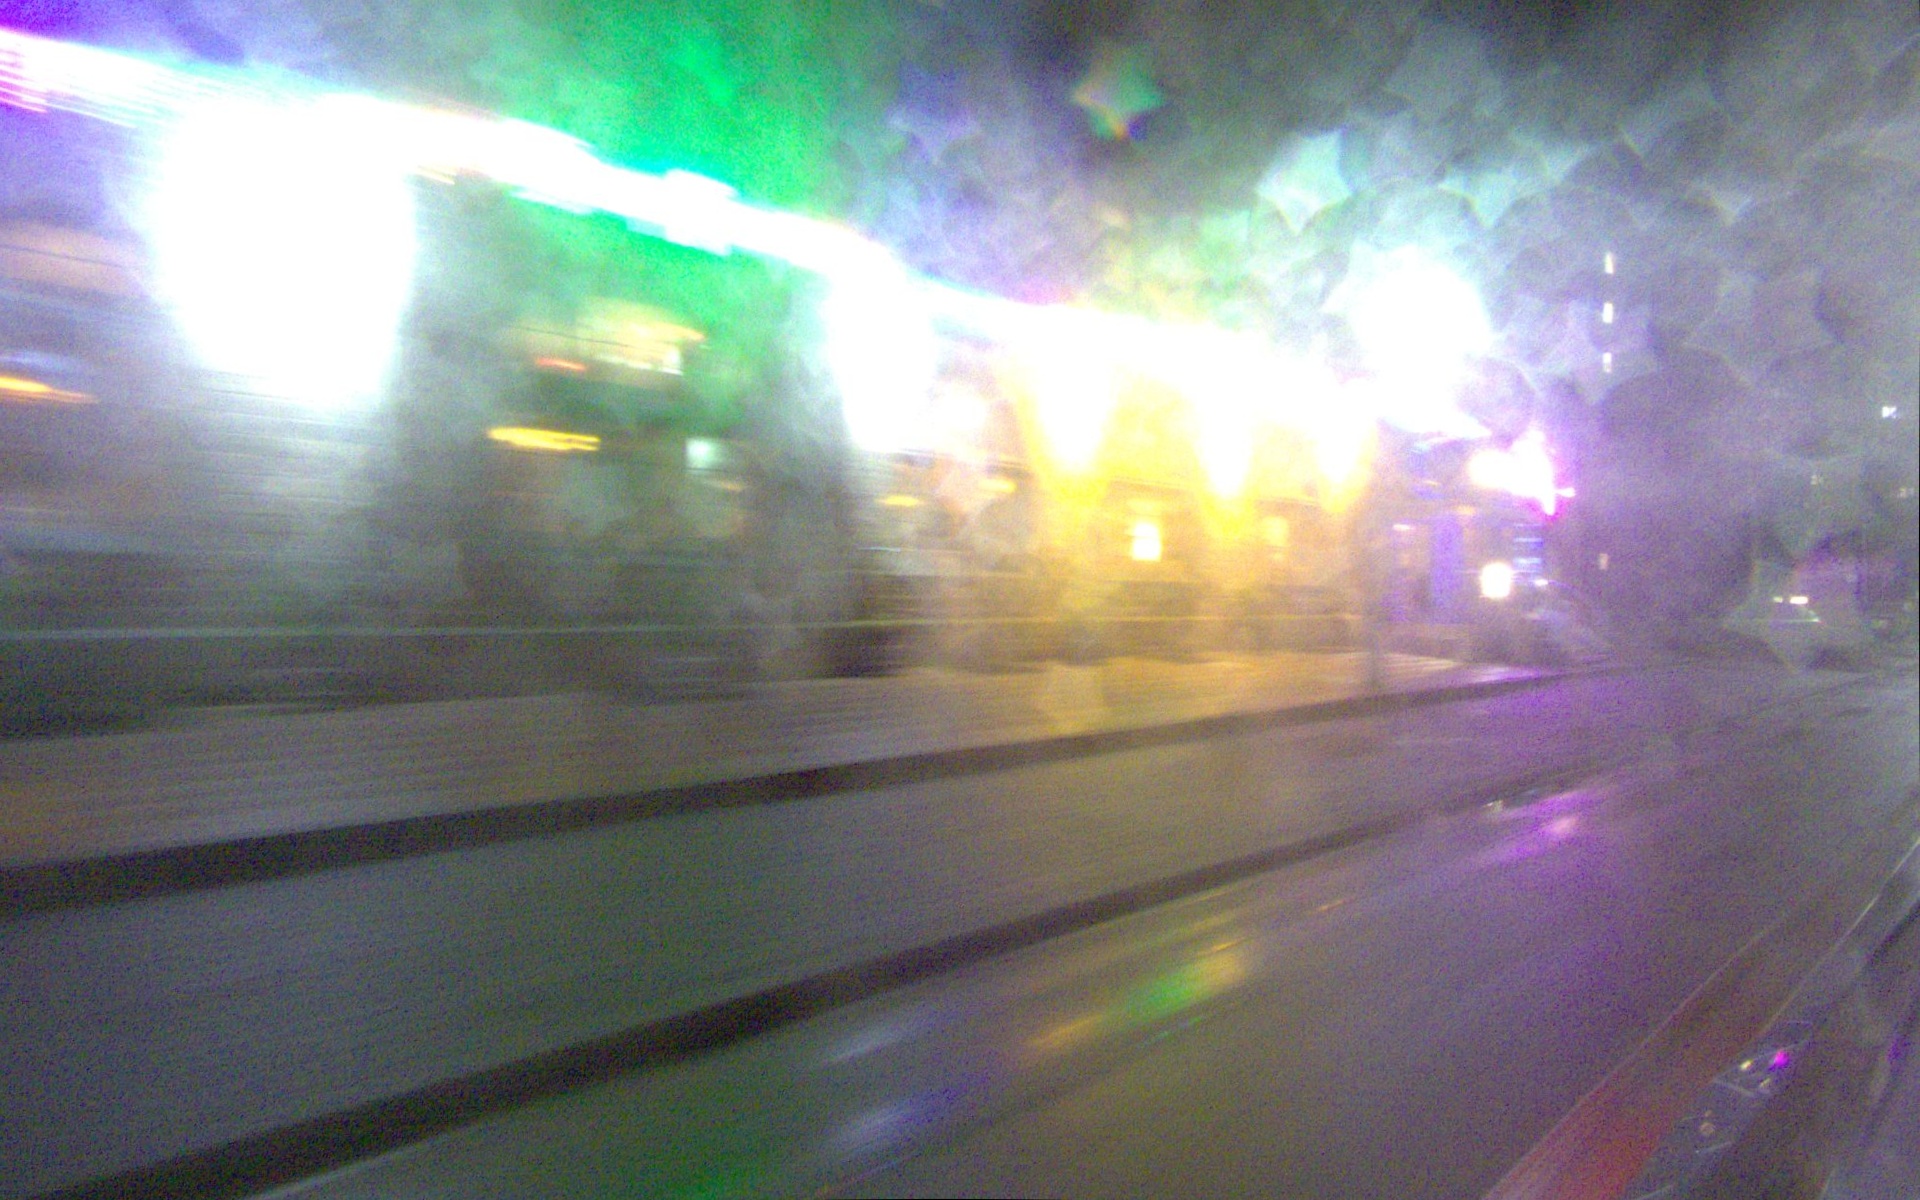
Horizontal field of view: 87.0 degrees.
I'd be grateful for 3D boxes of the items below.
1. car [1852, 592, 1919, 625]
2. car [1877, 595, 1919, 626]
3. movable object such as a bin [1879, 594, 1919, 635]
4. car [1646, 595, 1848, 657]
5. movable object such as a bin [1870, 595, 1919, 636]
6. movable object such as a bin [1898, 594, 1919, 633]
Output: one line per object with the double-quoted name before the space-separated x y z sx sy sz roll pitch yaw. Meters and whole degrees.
"car" 46.798 0.426 50.052 3.677 1.536 1.640 3 2 32
"car" 50.008 0.593 51.501 4.562 1.493 1.820 3 2 30
"movable object such as a bin" 35.620 0.532 38.150 1.080 1.440 1.212 0 3 -35
"car" 21.735 0.660 28.171 4.062 1.556 1.944 1 1 25
"movable object such as a bin" 34.759 0.551 37.449 1.052 1.440 1.373 0 3 -35
"movable object such as a bin" 36.771 0.522 38.647 1.322 1.425 1.141 4 3 44
